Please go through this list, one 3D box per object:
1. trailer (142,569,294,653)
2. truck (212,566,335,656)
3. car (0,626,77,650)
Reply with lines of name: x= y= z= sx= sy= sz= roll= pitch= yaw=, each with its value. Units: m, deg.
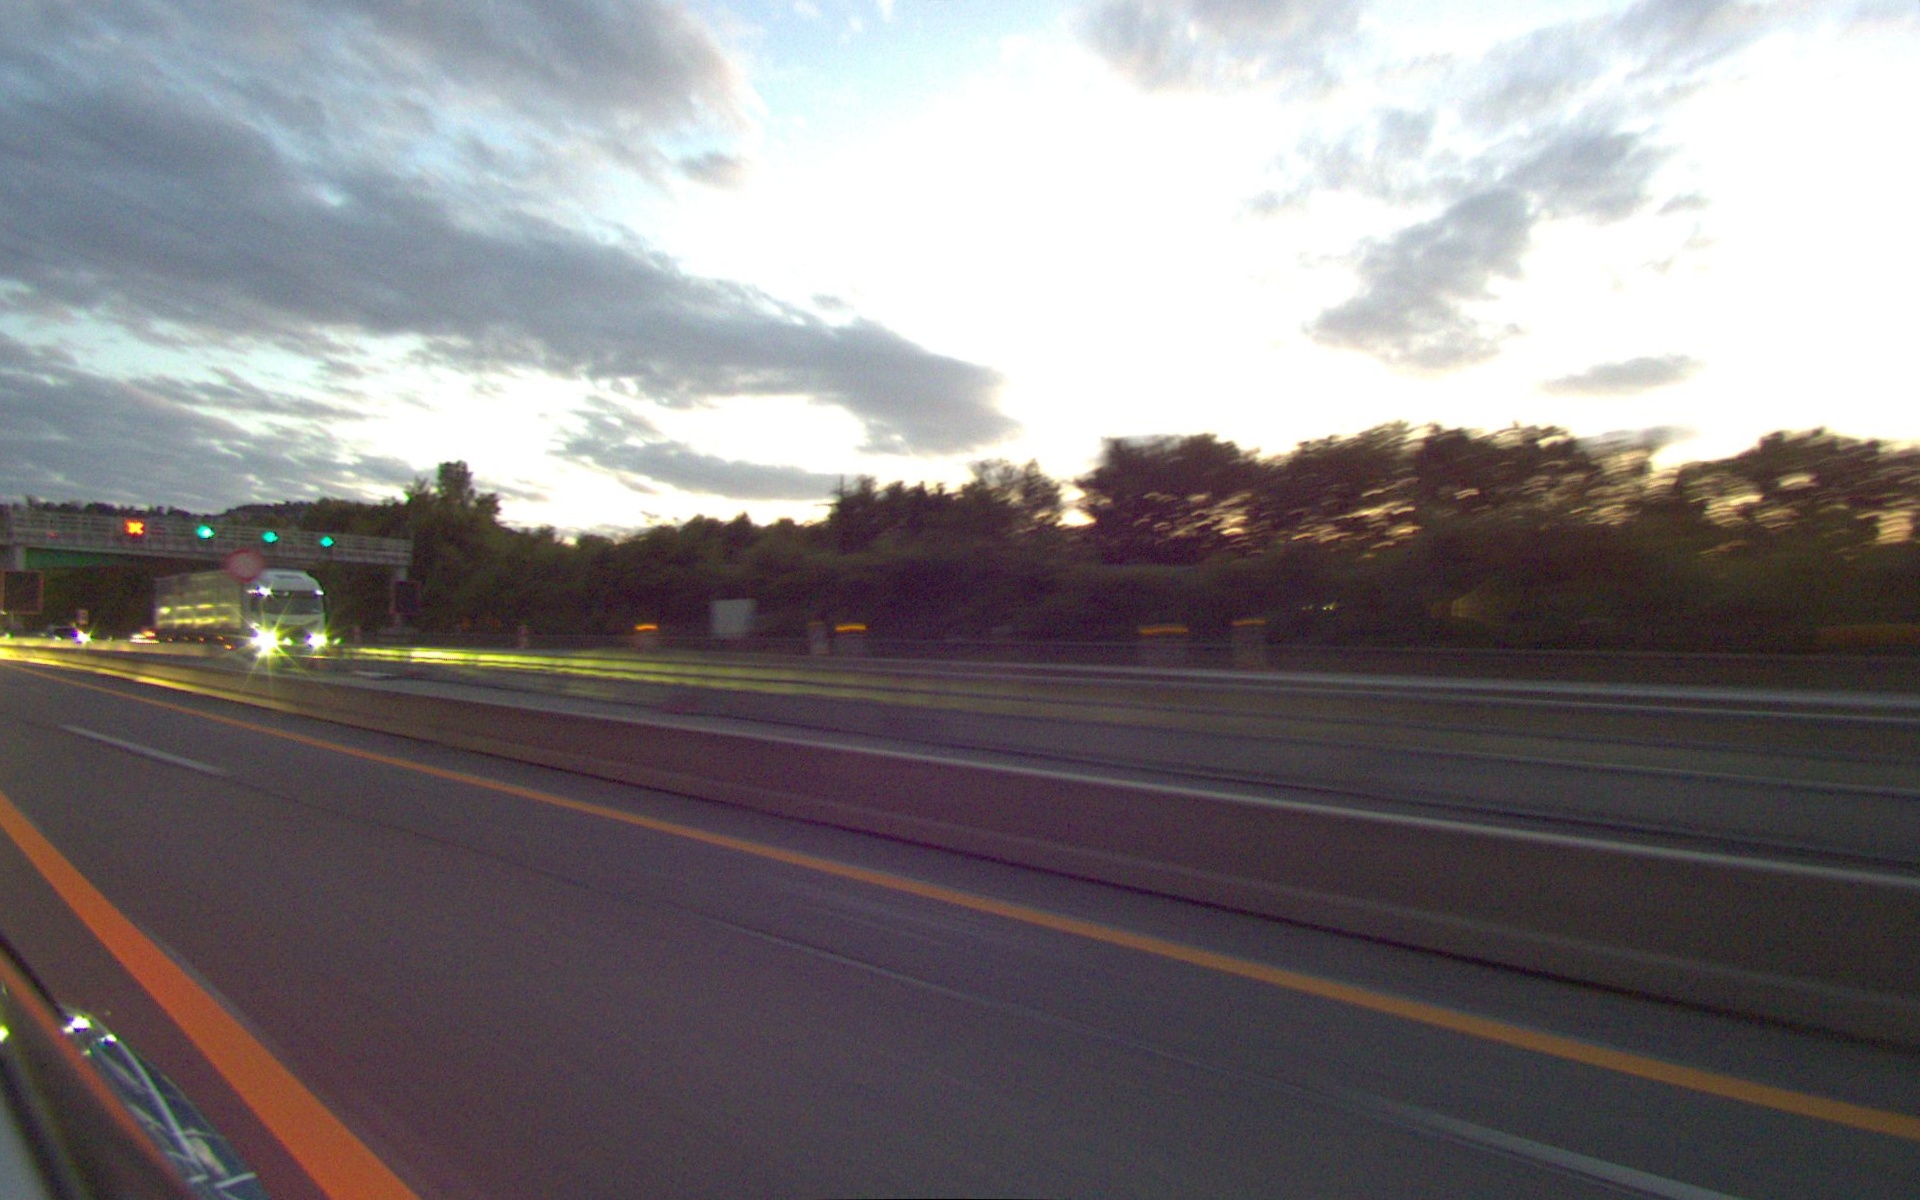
trailer: x=-37.201 y=0.578 z=50.463 sx=11.814 sy=3.811 sz=2.773 roll=-1 pitch=0 yaw=37
truck: x=-31.178 y=0.479 z=45.880 sx=6.292 sy=3.803 sz=2.777 roll=-1 pitch=0 yaw=37
car: x=-69.576 y=2.863 z=76.419 sx=1.981 sy=1.711 sz=3.981 roll=-1 pitch=-1 yaw=15
